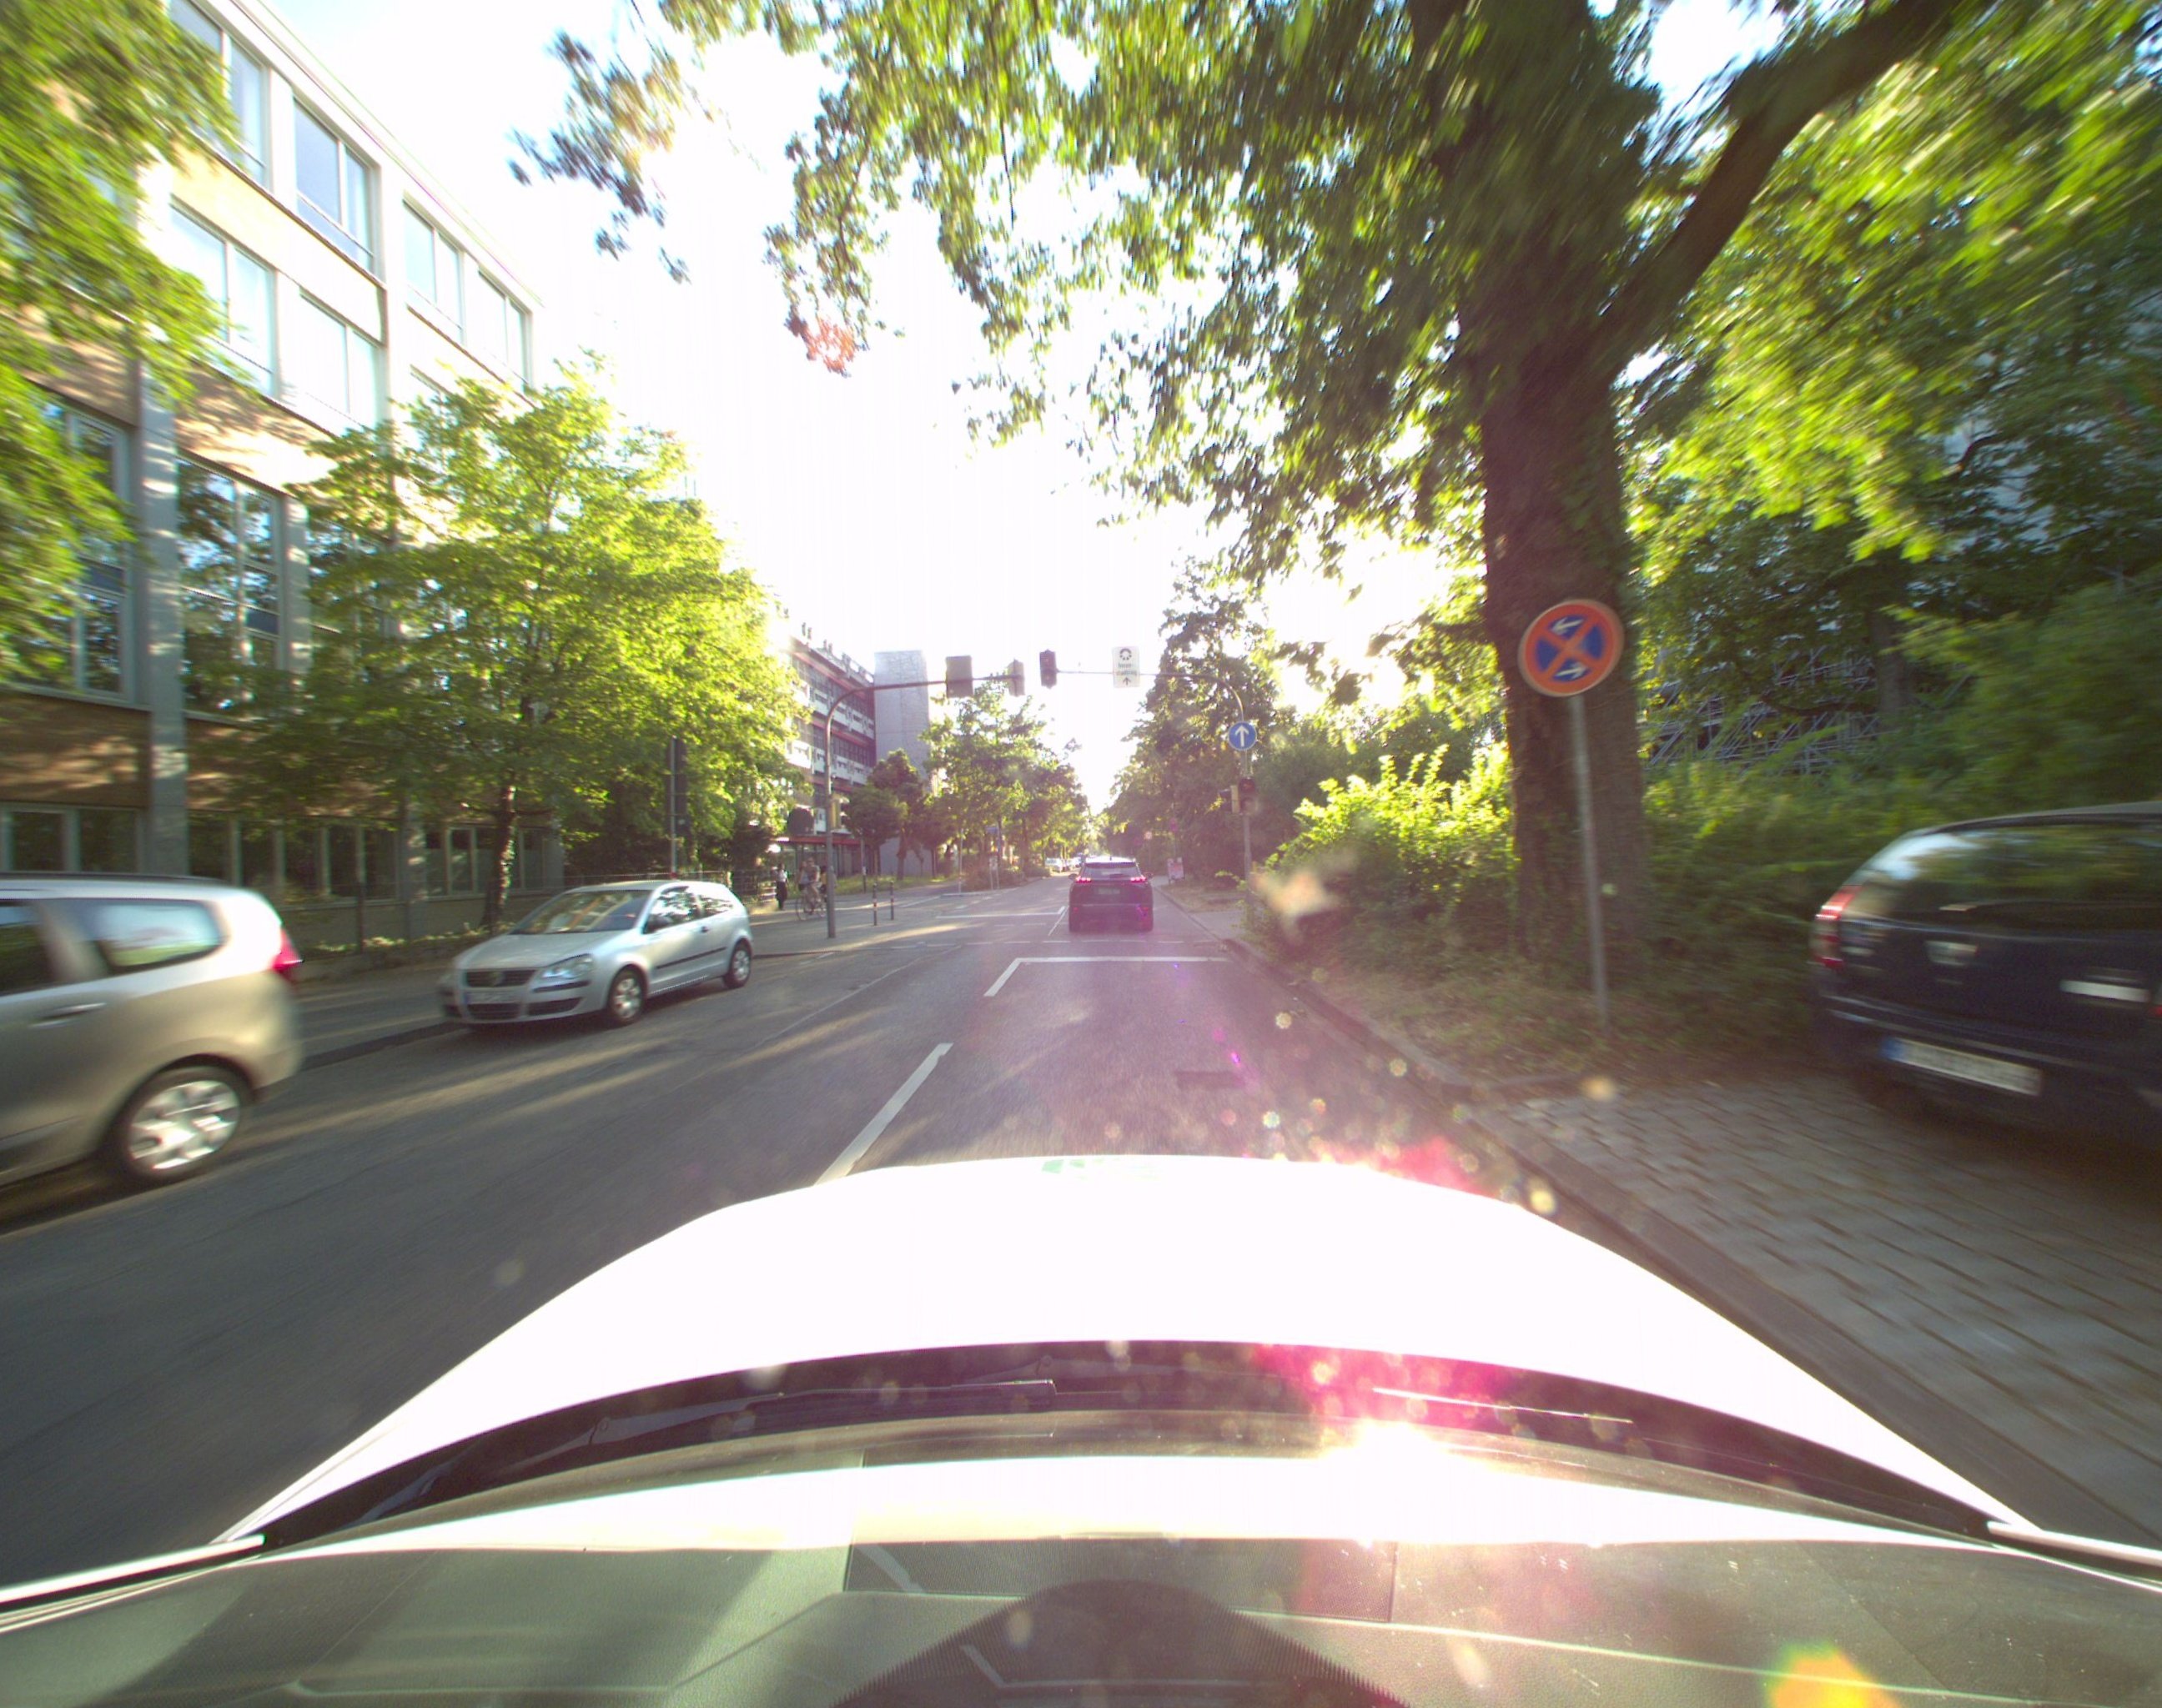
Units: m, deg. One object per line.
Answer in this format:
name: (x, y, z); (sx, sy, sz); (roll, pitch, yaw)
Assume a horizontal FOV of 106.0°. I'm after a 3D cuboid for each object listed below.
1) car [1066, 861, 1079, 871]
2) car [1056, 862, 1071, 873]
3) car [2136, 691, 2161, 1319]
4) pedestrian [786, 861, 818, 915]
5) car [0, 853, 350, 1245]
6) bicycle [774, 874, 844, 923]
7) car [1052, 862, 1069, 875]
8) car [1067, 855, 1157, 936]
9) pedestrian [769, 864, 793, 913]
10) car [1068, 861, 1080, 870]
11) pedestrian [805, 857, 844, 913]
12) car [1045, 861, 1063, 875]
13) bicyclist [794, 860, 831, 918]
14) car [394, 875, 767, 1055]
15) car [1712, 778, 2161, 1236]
car: (-1.298, 1.854, 126.300); (1.806, 1.354, 3.976); (-3, 0, -2)
car: (-2.237, 1.693, 103.795); (1.806, 1.354, 3.997); (-3, 0, -2)
car: (4.686, 0.385, 0.955); (4.149, 1.710, 1.870); (-2, 0, 5)
pedestrian: (-9.048, 1.092, 26.405); (0.719, 1.662, 0.699); (-2, 0, -38)
car: (-5.621, 0.906, 3.023); (1.673, 1.708, 4.343); (-4, 0, 2)
bicycle: (-7.613, 1.231, 22.922); (0.681, 1.249, 2.202); (-2, 0, 18)
car: (-2.355, 1.618, 92.462); (1.806, 1.354, 3.997); (-3, 0, -2)
car: (0.658, 0.826, 17.945); (1.762, 1.568, 3.381); (-2, 0, 1)
pedestrian: (-10.637, 1.203, 28.905); (0.716, 1.662, 0.761); (-3, 0, -22)
car: (-1.236, 1.920, 136.363); (1.806, 1.354, 3.997); (-3, 0, -2)
pedestrian: (-8.589, 1.029, 27.268); (0.827, 1.823, 0.945); (-2, 0, -44)
car: (-2.876, 1.426, 86.226); (1.806, 1.354, 3.995); (-3, 0, -3)
bicyclist: (-7.583, 0.979, 23.035); (0.670, 1.603, 0.709); (-2, -1, 18)
car: (-5.378, 1.077, 9.459); (1.672, 1.457, 3.885); (-4, 0, 3)
car: (5.010, 0.460, 3.634); (3.188, 1.493, 1.681); (-2, 0, -6)
